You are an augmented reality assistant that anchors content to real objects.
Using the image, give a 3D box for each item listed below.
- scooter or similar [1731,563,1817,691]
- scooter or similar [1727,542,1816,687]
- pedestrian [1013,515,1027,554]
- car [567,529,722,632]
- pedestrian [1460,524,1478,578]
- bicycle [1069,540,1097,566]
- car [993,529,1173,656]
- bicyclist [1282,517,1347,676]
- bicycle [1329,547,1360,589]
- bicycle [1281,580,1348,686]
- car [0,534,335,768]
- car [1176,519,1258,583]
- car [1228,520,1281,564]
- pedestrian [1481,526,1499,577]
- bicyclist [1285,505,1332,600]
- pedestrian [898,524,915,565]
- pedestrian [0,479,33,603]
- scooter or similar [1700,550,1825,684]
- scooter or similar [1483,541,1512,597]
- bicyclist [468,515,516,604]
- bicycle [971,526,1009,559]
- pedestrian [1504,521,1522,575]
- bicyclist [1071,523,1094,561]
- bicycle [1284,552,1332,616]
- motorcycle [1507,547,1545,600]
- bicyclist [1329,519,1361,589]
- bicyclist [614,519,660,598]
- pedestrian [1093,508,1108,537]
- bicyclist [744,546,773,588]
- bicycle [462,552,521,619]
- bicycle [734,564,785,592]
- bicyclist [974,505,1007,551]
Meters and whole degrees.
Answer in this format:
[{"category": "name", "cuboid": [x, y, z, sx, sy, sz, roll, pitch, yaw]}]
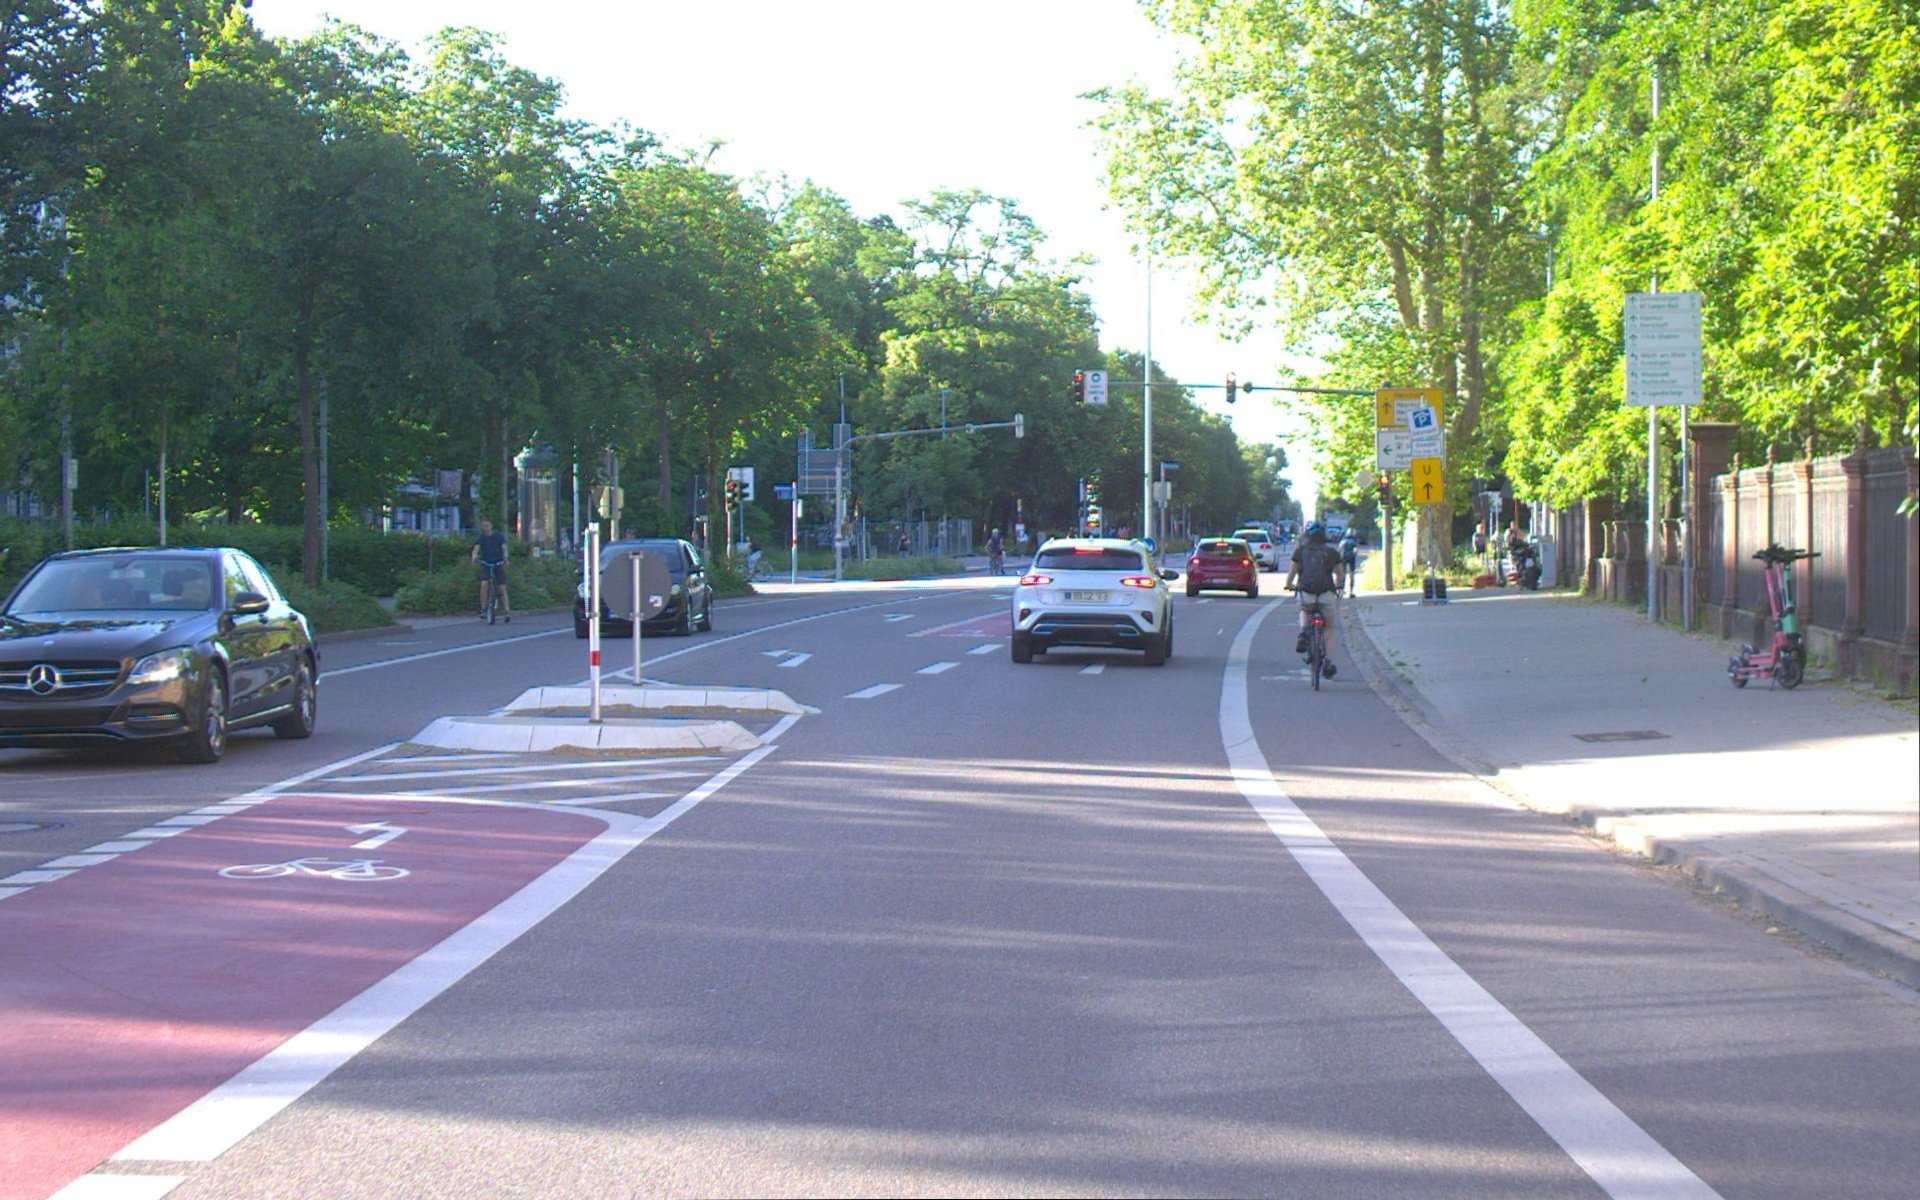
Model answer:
[{"category": "scooter or similar", "cuboid": [7.337, 0.233, 31.026, 0.480, 1.118, 1.336, -1, 1, 2]}, {"category": "scooter or similar", "cuboid": [7.084, 0.117, 30.052, 0.296, 1.235, 1.161, -1, 1, -11]}, {"category": "pedestrian", "cuboid": [3.101, -3.383, 177.006, 0.656, 2.007, 0.832, -1, 1, 4]}, {"category": "car", "cuboid": [-4.623, -0.323, 50.886, 1.758, 1.454, 4.000, 0, 1, 2]}, {"category": "pedestrian", "cuboid": [17.108, -1.649, 115.599, 0.482, 1.786, 0.431, -3, 4, 13]}, {"category": "bicycle", "cuboid": [5.670, -2.159, 158.572, 0.964, 1.177, 2.950, -1, 1, 8]}, {"category": "car", "cuboid": [1.546, -0.124, 41.819, 1.994, 1.448, 4.000, -1, 1, 4]}, {"category": "bicyclist", "cuboid": [3.658, -0.050, 35.502, 0.636, 1.609, 1.284, 1, 1, 6]}, {"category": "bicycle", "cuboid": [9.692, -0.809, 86.695, 0.753, 1.022, 1.869, 1, 0, 6]}, {"category": "bicycle", "cuboid": [3.668, 0.329, 35.628, 0.643, 1.021, 2.212, 1, 1, 6]}, {"category": "car", "cuboid": [-5.612, 0.274, 23.334, 1.811, 1.415, 4.555, 0, 1, 1]}, {"category": "car", "cuboid": [6.386, -1.226, 85.131, 1.929, 1.528, 3.999, -1, 1, 6]}, {"category": "car", "cuboid": [10.703, -2.120, 124.745, 1.737, 1.541, 3.999, 0, 1, 7]}, {"category": "pedestrian", "cuboid": [17.826, -1.634, 115.586, 0.482, 1.634, 0.431, -3, 4, 13]}, {"category": "bicyclist", "cuboid": [5.707, -0.781, 56.327, 0.747, 1.532, 0.969, 1, 1, 6]}, {"category": "pedestrian", "cuboid": [-2.431, -2.520, 156.196, 0.651, 1.881, 0.662, -1, 1, 8]}, {"category": "pedestrian", "cuboid": [-14.463, -0.877, 51.423, 0.856, 1.845, 1.001, -1, 1, 4]}, {"category": "scooter or similar", "cuboid": [7.672, 0.145, 32.909, 0.547, 1.238, 1.558, -1, 1, -12]}, {"category": "scooter or similar", "cuboid": [13.345, -0.777, 85.406, 0.566, 1.378, 1.856, -1, 1, 5]}, {"category": "bicyclist", "cuboid": [-8.265, -0.717, 60.683, 0.629, 1.517, 0.724, -3, 1, 3]}, {"category": "bicycle", "cuboid": [1.173, -2.218, 132.507, 1.102, 1.250, 2.778, -1, 1, 8]}, {"category": "pedestrian", "cuboid": [18.701, -1.769, 116.311, 0.482, 1.786, 0.431, -3, 4, 13]}, {"category": "bicyclist", "cuboid": [5.651, -2.680, 158.491, 0.956, 1.699, 1.232, -1, 1, 8]}, {"category": "bicycle", "cuboid": [5.702, -0.265, 56.334, 0.753, 1.022, 1.869, 1, 0, 6]}, {"category": "motorcycle", "cuboid": [12.938, -0.615, 78.636, 0.662, 1.163, 2.327, -3, 1, 6]}, {"category": "bicyclist", "cuboid": [9.702, -1.168, 86.656, 0.750, 1.744, 0.843, 1, 1, 6]}, {"category": "bicyclist", "cuboid": [-5.966, -0.778, 63.531, 0.646, 1.414, 0.971, -3, 1, 3]}, {"category": "pedestrian", "cuboid": [10.645, -5.862, 260.125, 0.876, 2.142, 1.102, -1, 1, 15]}, {"category": "bicyclist", "cuboid": [-7.276, -1.184, 124.298, 0.922, 1.503, 0.506, 0, 1, 13]}, {"category": "bicycle", "cuboid": [-8.253, -0.264, 60.605, 0.597, 1.117, 2.027, -3, 1, 3]}, {"category": "bicycle", "cuboid": [-7.245, -0.803, 124.299, 1.767, 0.986, 0.512, 0, 1, 13]}, {"category": "bicyclist", "cuboid": [1.176, -2.779, 132.530, 1.092, 1.748, 1.097, -1, 1, 8]}]
